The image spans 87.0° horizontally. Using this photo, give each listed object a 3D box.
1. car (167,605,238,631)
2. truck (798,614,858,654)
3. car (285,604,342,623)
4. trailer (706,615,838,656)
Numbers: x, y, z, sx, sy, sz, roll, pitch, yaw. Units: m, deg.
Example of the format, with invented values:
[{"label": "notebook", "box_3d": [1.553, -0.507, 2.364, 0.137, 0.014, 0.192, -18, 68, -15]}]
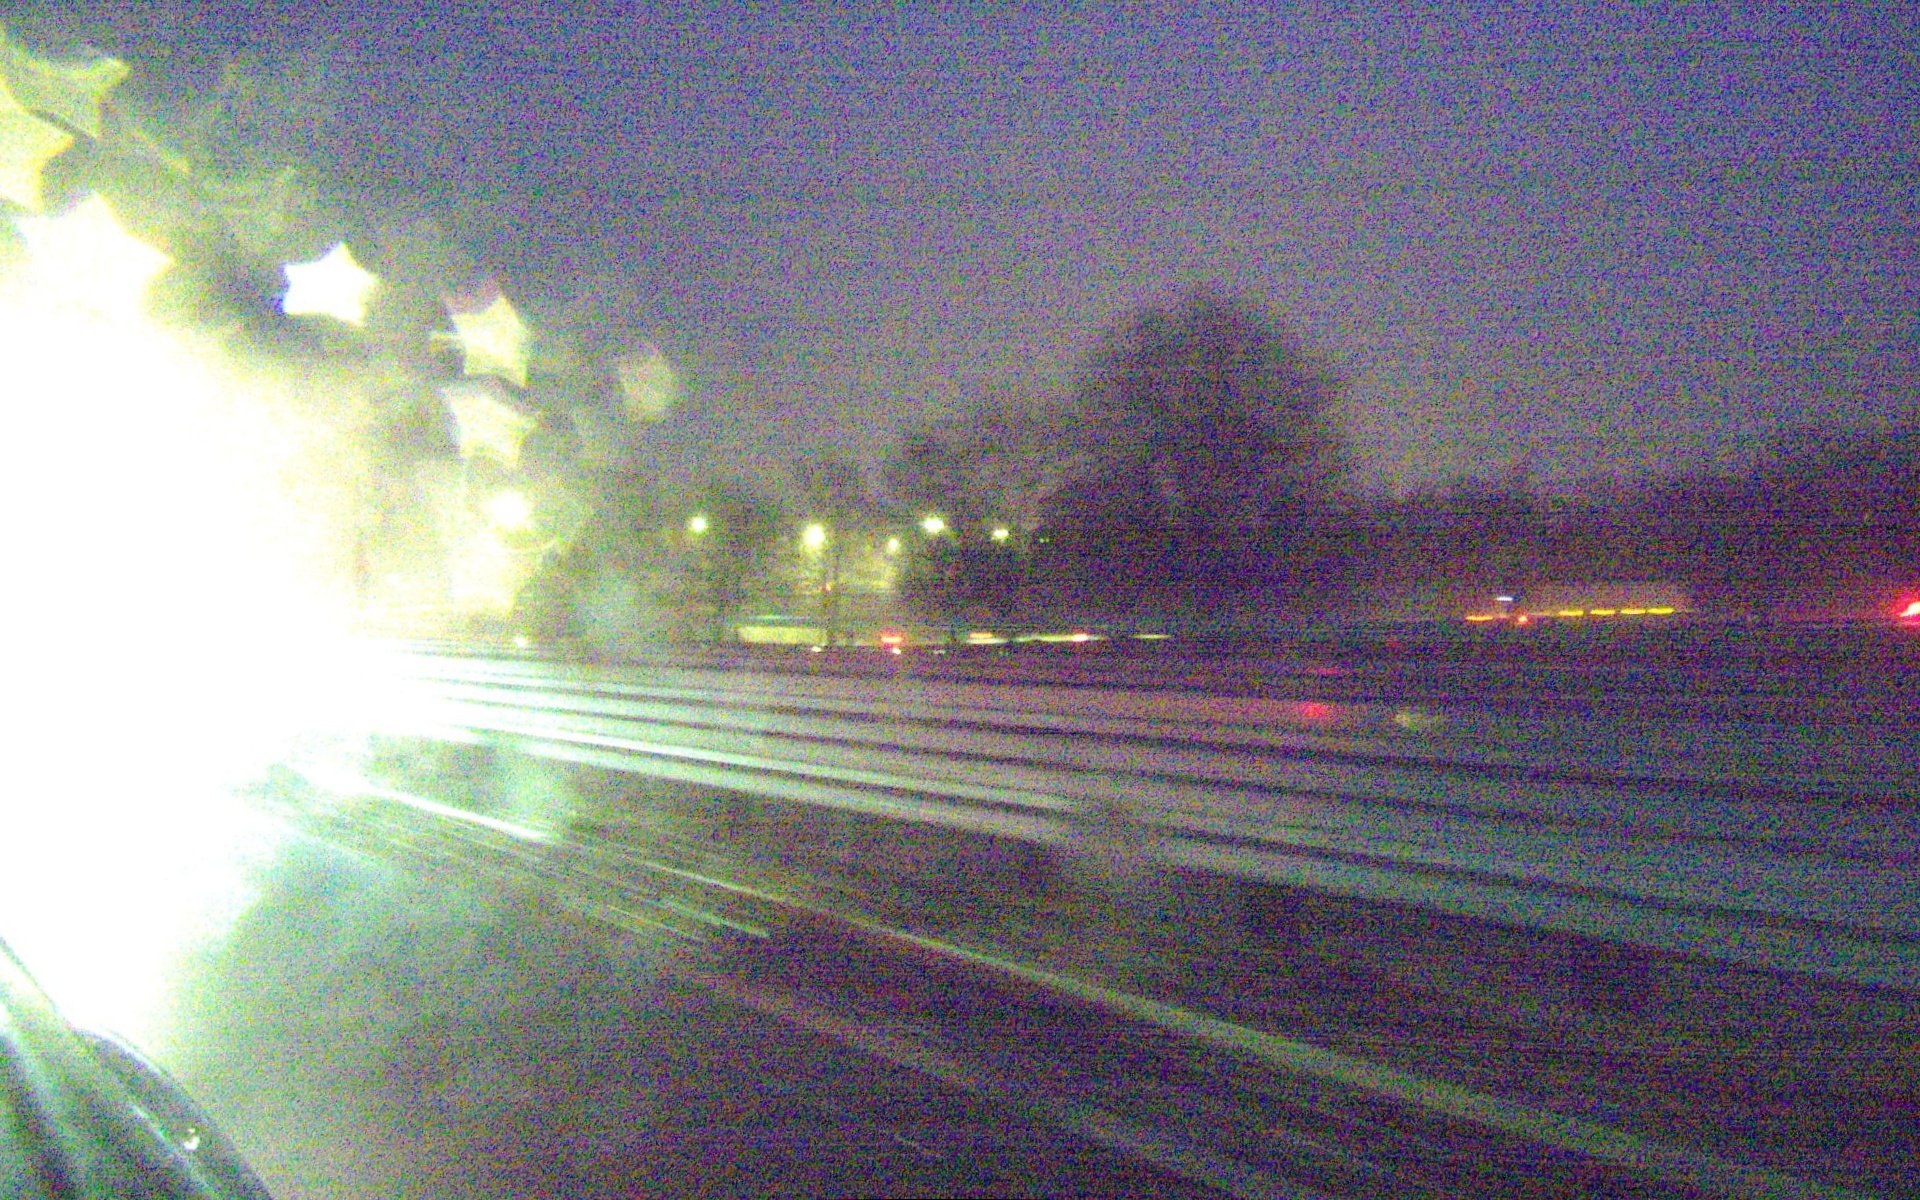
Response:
[{"label": "car", "box_3d": [-59.718, 1.401, 79.865, 1.989, 1.807, 3.966, -2, 1, 26]}, {"label": "truck", "box_3d": [-13.420, 3.454, 103.293, 5.405, 3.739, 2.585, -2, 1, 14]}, {"label": "car", "box_3d": [-58.455, 1.242, 91.564, 1.707, 1.452, 3.970, -4, 1, 23]}, {"label": "trailer", "box_3d": [-19.480, 3.699, 104.868, 13.521, 3.753, 2.589, -2, 1, 14]}]
